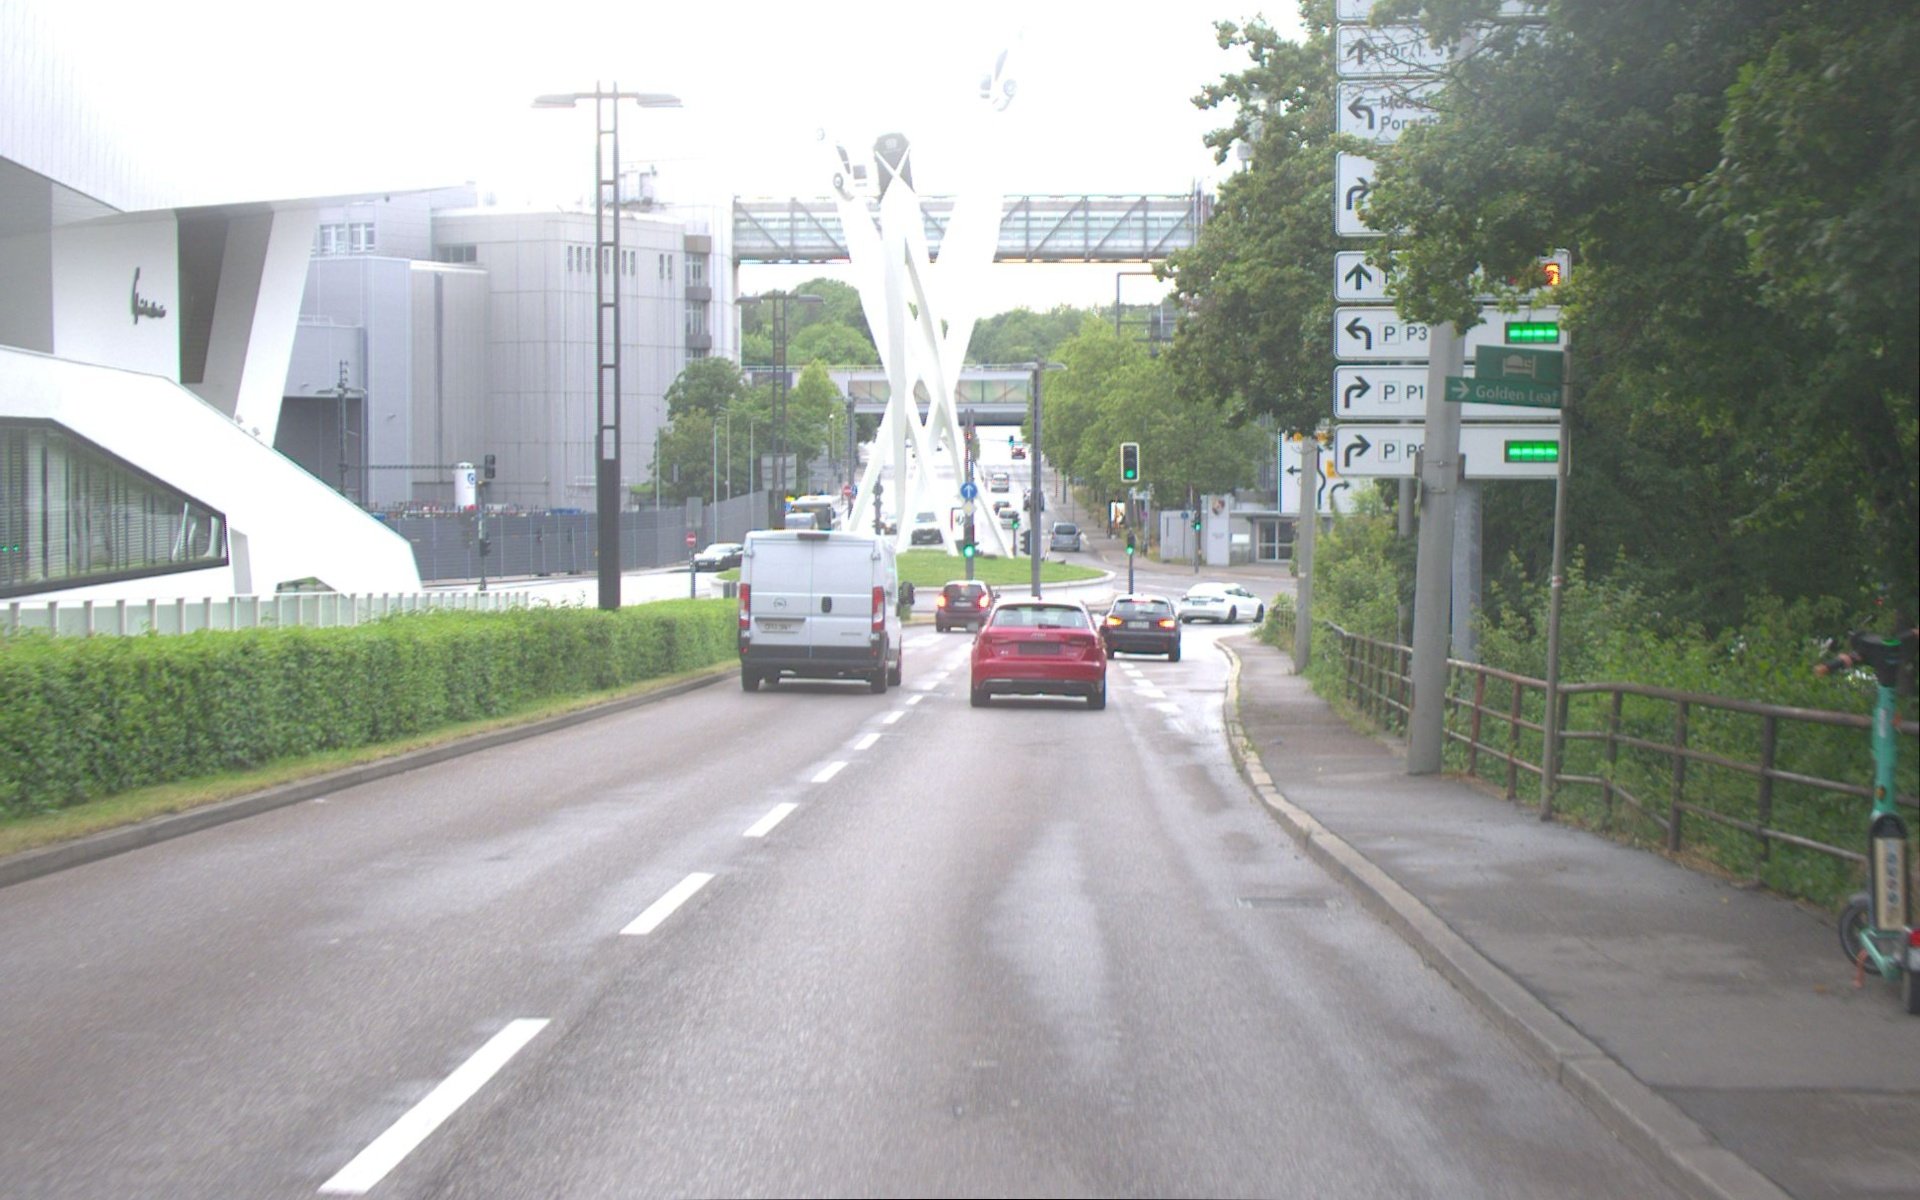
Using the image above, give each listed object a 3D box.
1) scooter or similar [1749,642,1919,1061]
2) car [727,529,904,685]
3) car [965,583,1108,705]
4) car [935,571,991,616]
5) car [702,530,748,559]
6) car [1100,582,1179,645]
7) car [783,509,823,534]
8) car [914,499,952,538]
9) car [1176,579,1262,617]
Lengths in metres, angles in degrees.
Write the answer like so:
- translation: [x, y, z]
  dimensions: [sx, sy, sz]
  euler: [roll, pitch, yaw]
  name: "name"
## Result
- translation: [3.097, 0.785, 11.438]
  dimensions: [0.538, 1.228, 1.844]
  euler: [1, 1, 1]
  name: "scooter or similar"
- translation: [-2.013, 0.072, 49.239]
  dimensions: [2.232, 2.100, 4.954]
  euler: [1, 1, 1]
  name: "car"
- translation: [1.008, 0.541, 44.876]
  dimensions: [1.772, 1.459, 3.733]
  euler: [1, 1, 2]
  name: "car"
- translation: [0.107, -0.214, 103.064]
  dimensions: [1.557, 1.284, 3.414]
  euler: [1, 1, 2]
  name: "car"
- translation: [-12.440, -2.966, 182.112]
  dimensions: [1.833, 1.467, 4.513]
  euler: [1, 2, 3]
  name: "car"
- translation: [3.877, 0.268, 74.826]
  dimensions: [1.610, 1.286, 3.566]
  euler: [1, 1, 2]
  name: "car"
- translation: [-9.218, -4.617, 201.967]
  dimensions: [1.833, 1.467, 4.513]
  euler: [1, 2, 3]
  name: "car"
- translation: [-1.700, -5.158, 217.385]
  dimensions: [1.994, 2.438, 5.426]
  euler: [0, 2, 3]
  name: "car"
- translation: [9.097, -0.083, 120.652]
  dimensions: [1.670, 1.296, 3.880]
  euler: [1, 1, 26]
  name: "car"
